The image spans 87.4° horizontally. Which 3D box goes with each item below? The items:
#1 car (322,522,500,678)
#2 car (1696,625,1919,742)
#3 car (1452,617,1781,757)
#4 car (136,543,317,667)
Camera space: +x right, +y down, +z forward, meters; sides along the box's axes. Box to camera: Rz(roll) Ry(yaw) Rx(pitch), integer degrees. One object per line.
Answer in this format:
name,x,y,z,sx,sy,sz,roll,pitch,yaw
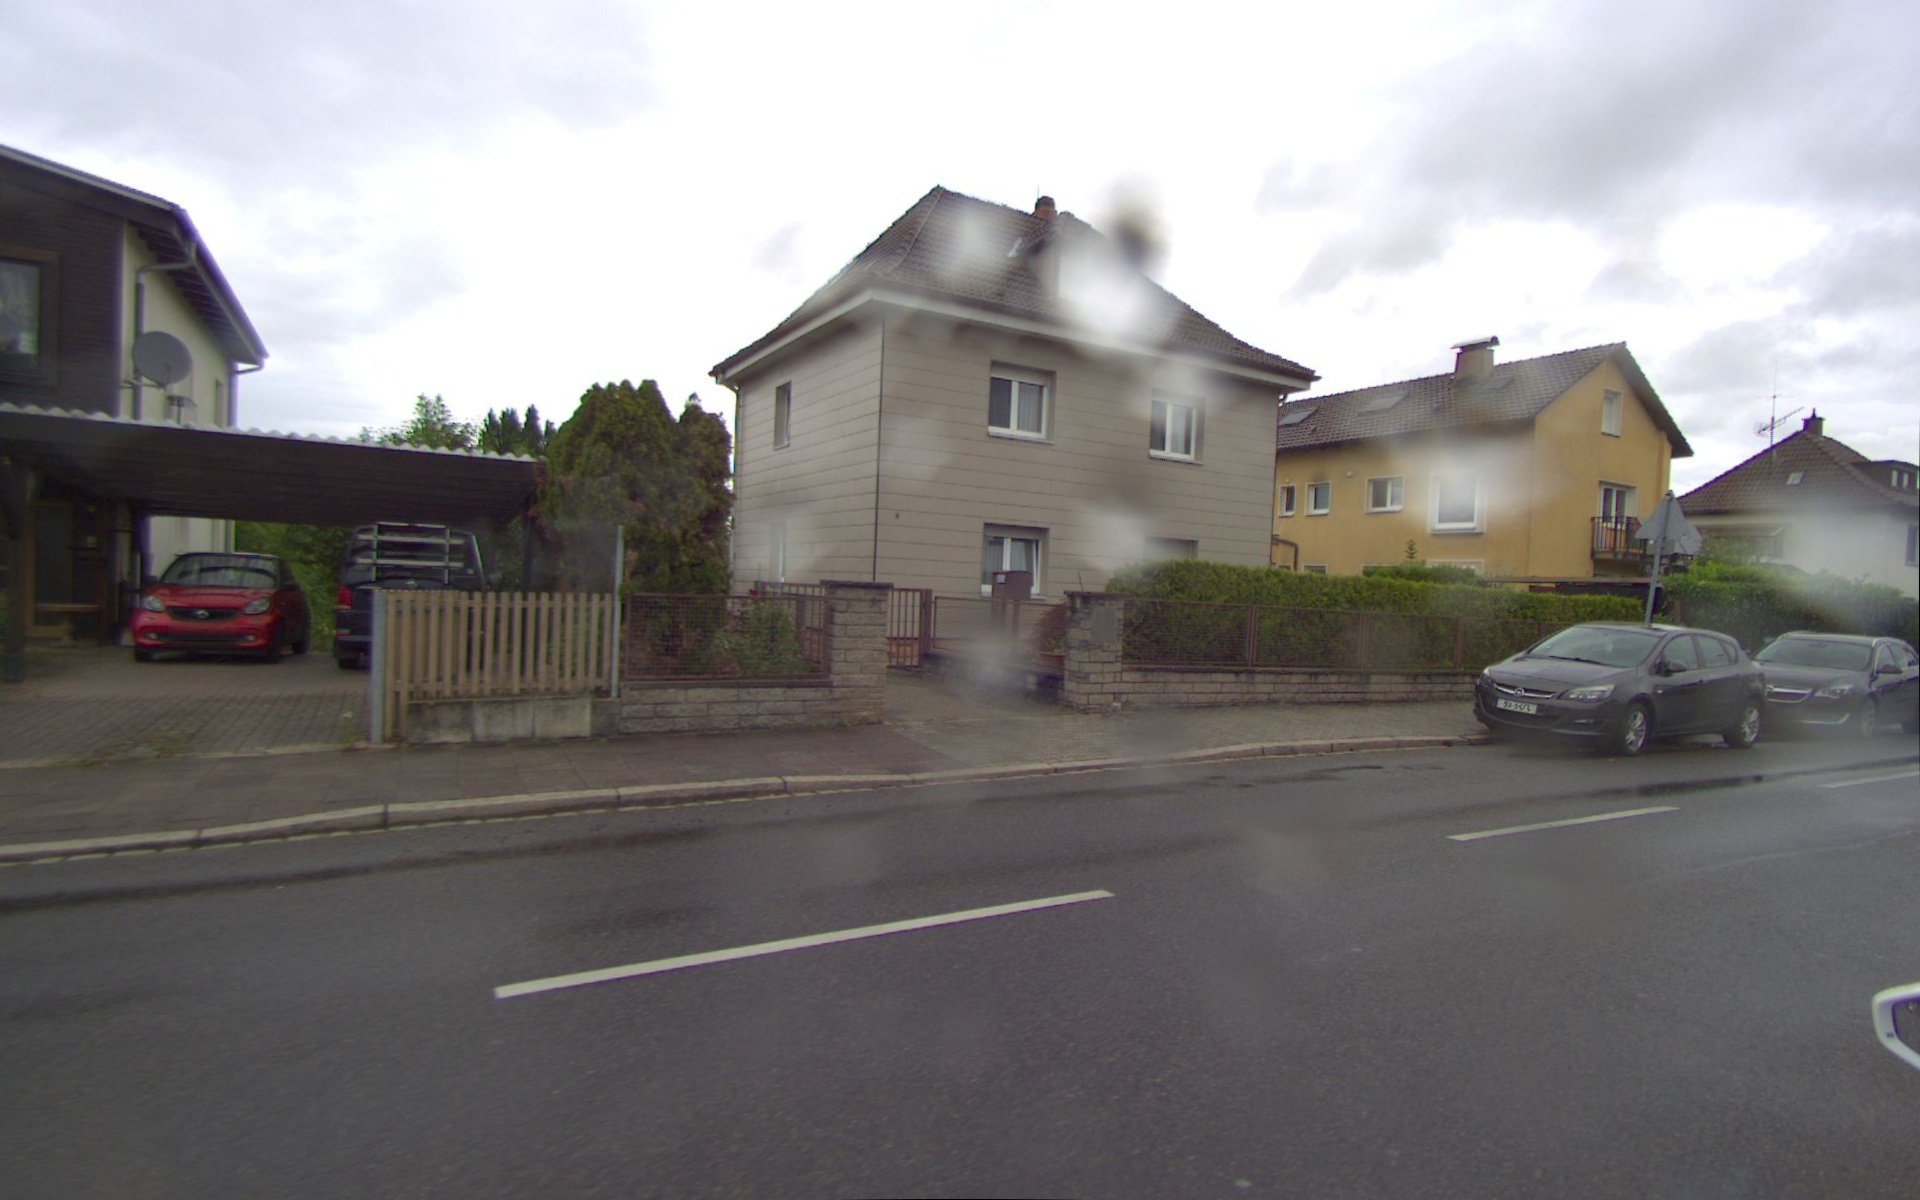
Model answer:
car,-7.990,0.033,14.993,1.972,1.980,3.977,1,-1,-24
car,13.618,1.268,15.802,4.478,1.537,1.740,3,0,-32
car,8.285,1.043,12.612,4.080,1.458,1.742,3,0,-29
car,-10.659,0.098,14.813,1.572,1.603,3.169,1,-1,-26
